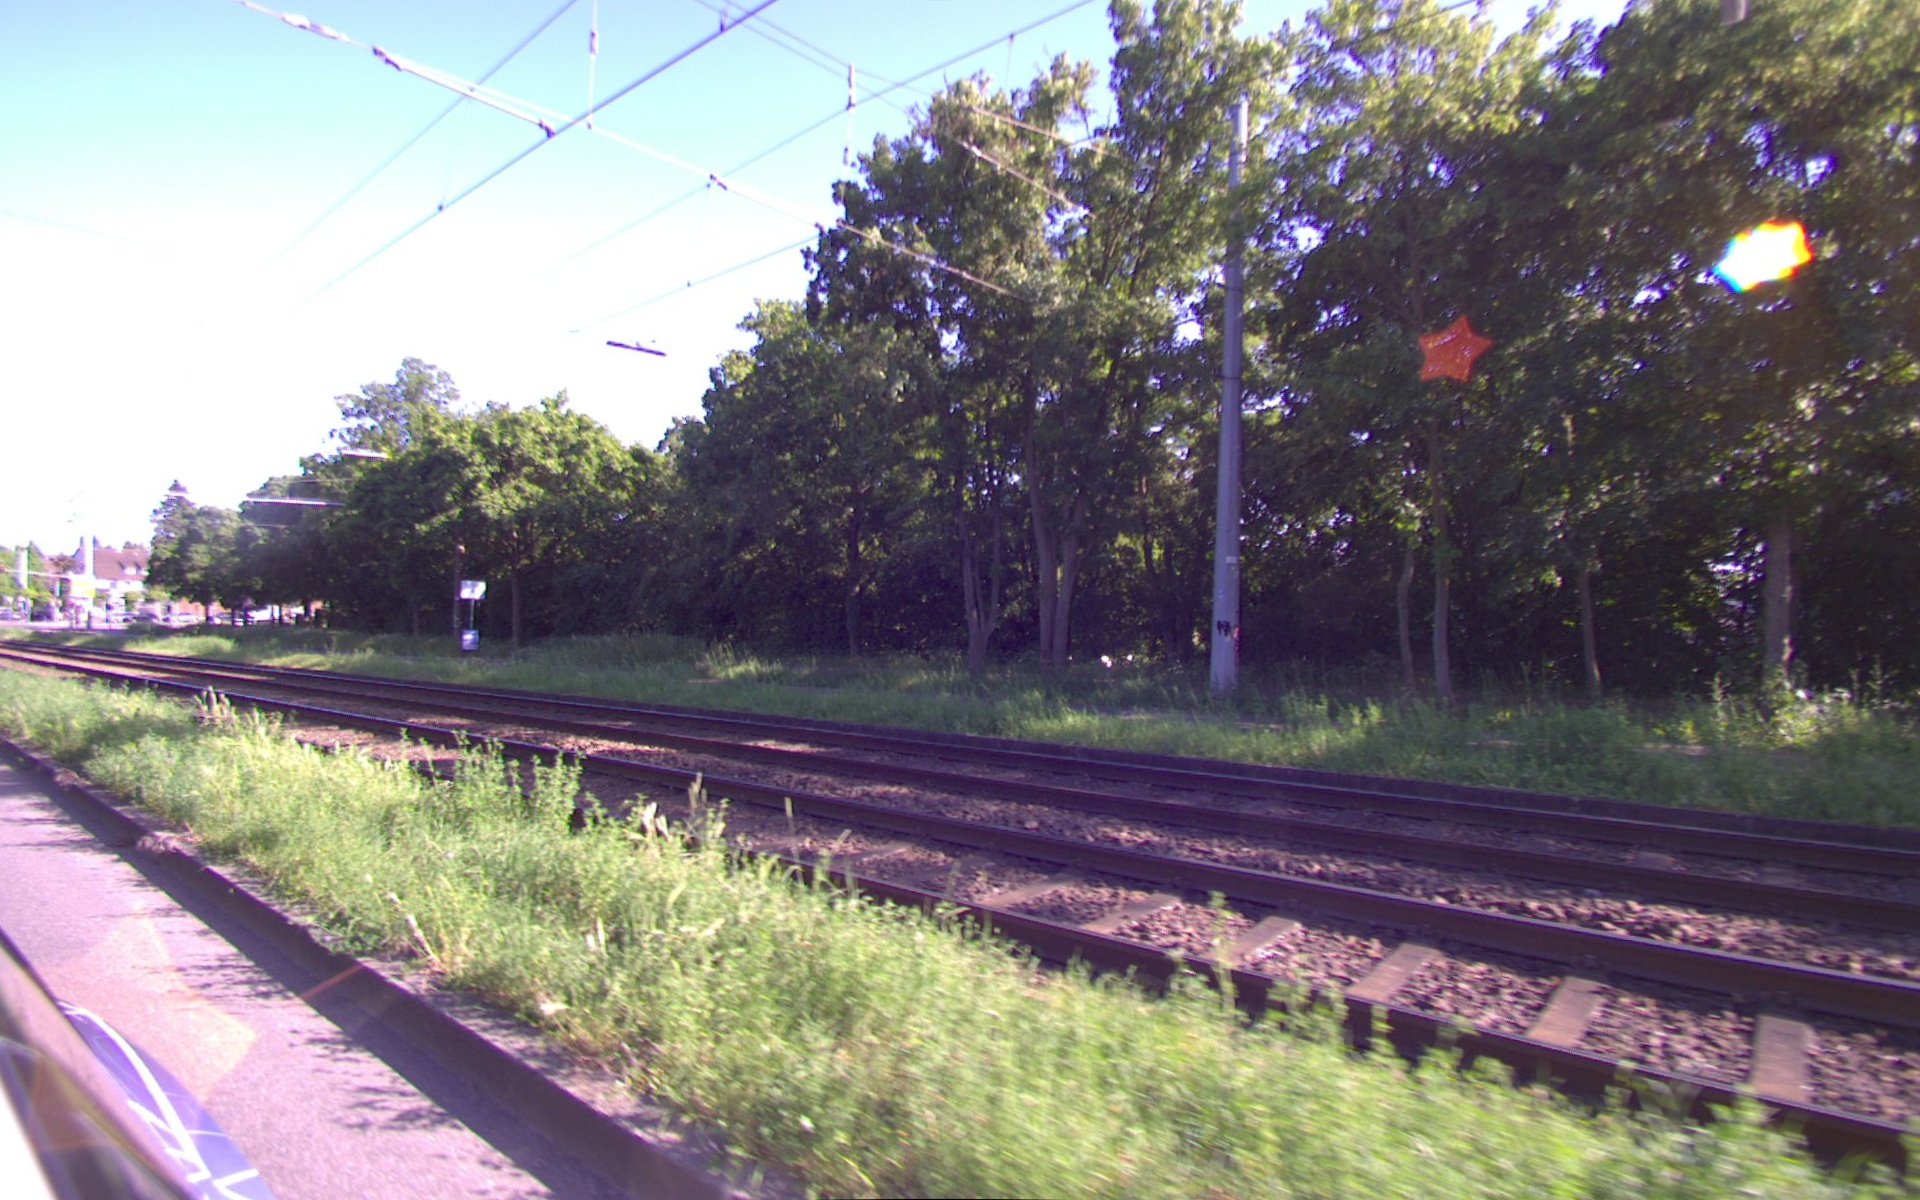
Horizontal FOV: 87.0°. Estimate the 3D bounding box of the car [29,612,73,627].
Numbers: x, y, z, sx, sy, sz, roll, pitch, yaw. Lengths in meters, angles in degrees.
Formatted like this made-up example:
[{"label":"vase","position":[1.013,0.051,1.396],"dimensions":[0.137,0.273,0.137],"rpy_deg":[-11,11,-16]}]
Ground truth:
[{"label":"car","position":[-124.209,2.610,138.301],"dimensions":[1.958,1.962,3.972],"rpy_deg":[-1,0,21]}]
